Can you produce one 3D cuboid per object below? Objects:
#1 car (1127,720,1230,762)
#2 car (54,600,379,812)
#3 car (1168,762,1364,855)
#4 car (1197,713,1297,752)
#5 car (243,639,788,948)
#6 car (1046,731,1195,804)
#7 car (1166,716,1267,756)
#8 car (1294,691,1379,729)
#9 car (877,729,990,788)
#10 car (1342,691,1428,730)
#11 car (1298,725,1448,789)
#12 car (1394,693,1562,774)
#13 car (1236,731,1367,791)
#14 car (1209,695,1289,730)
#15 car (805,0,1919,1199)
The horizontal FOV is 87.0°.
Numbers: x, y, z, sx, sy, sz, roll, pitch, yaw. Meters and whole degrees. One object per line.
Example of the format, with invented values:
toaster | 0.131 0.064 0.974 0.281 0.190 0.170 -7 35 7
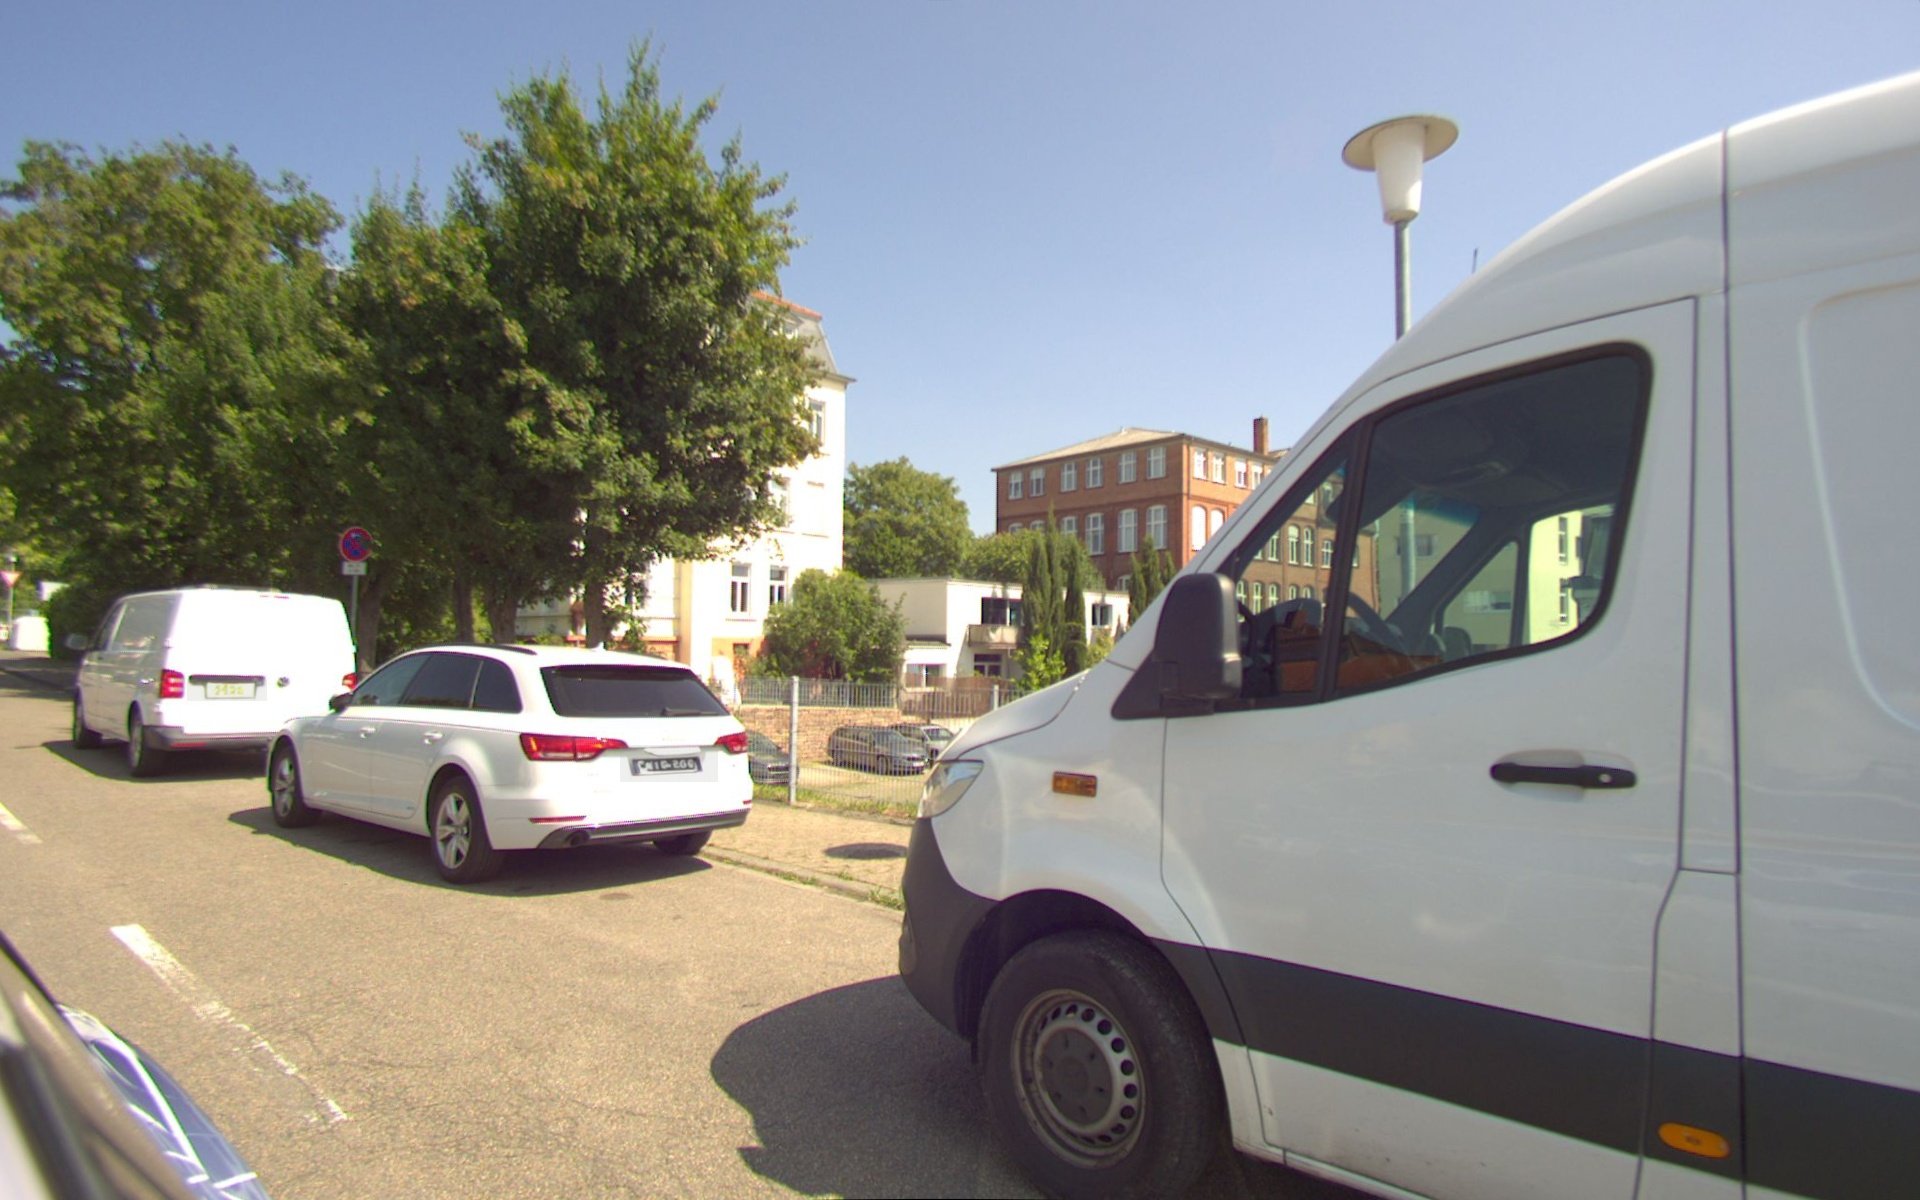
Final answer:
car | 10.282 6.637 47.887 1.794 1.690 4.608 6 -7 -41
car | -9.022 1.135 12.098 5.053 2.029 1.951 -2 -5 41
car | 6.919 4.683 23.197 1.780 1.453 4.006 3 -4 -40
car | 14.320 6.611 50.736 1.794 1.690 4.608 6 -7 -41
car | -3.390 1.120 7.320 4.395 1.555 1.697 -1 -5 39
car | 4.749 4.923 30.258 1.970 1.697 4.004 6 -5 -43
car | 12.489 6.627 49.577 1.794 1.690 4.608 6 -7 -41
car | 19.511 5.645 52.369 4.529 1.690 2.119 3 -3 -40
car | -1.015 5.788 37.301 1.970 1.697 4.004 6 -5 -43
car | 21.258 5.455 50.530 4.529 1.690 2.119 3 -3 -40
car | 15.635 5.891 38.575 1.969 2.037 4.933 6 -7 -41
car | 21.977 5.578 43.168 2.405 2.898 5.943 6 -5 -40
car | 12.237 5.728 36.407 1.970 1.697 4.004 6 -5 -43
car | 16.162 6.226 56.454 4.529 1.690 2.119 3 -4 -40
car | 2.861 0.390 1.735 6.916 2.616 2.146 -1 -5 41
